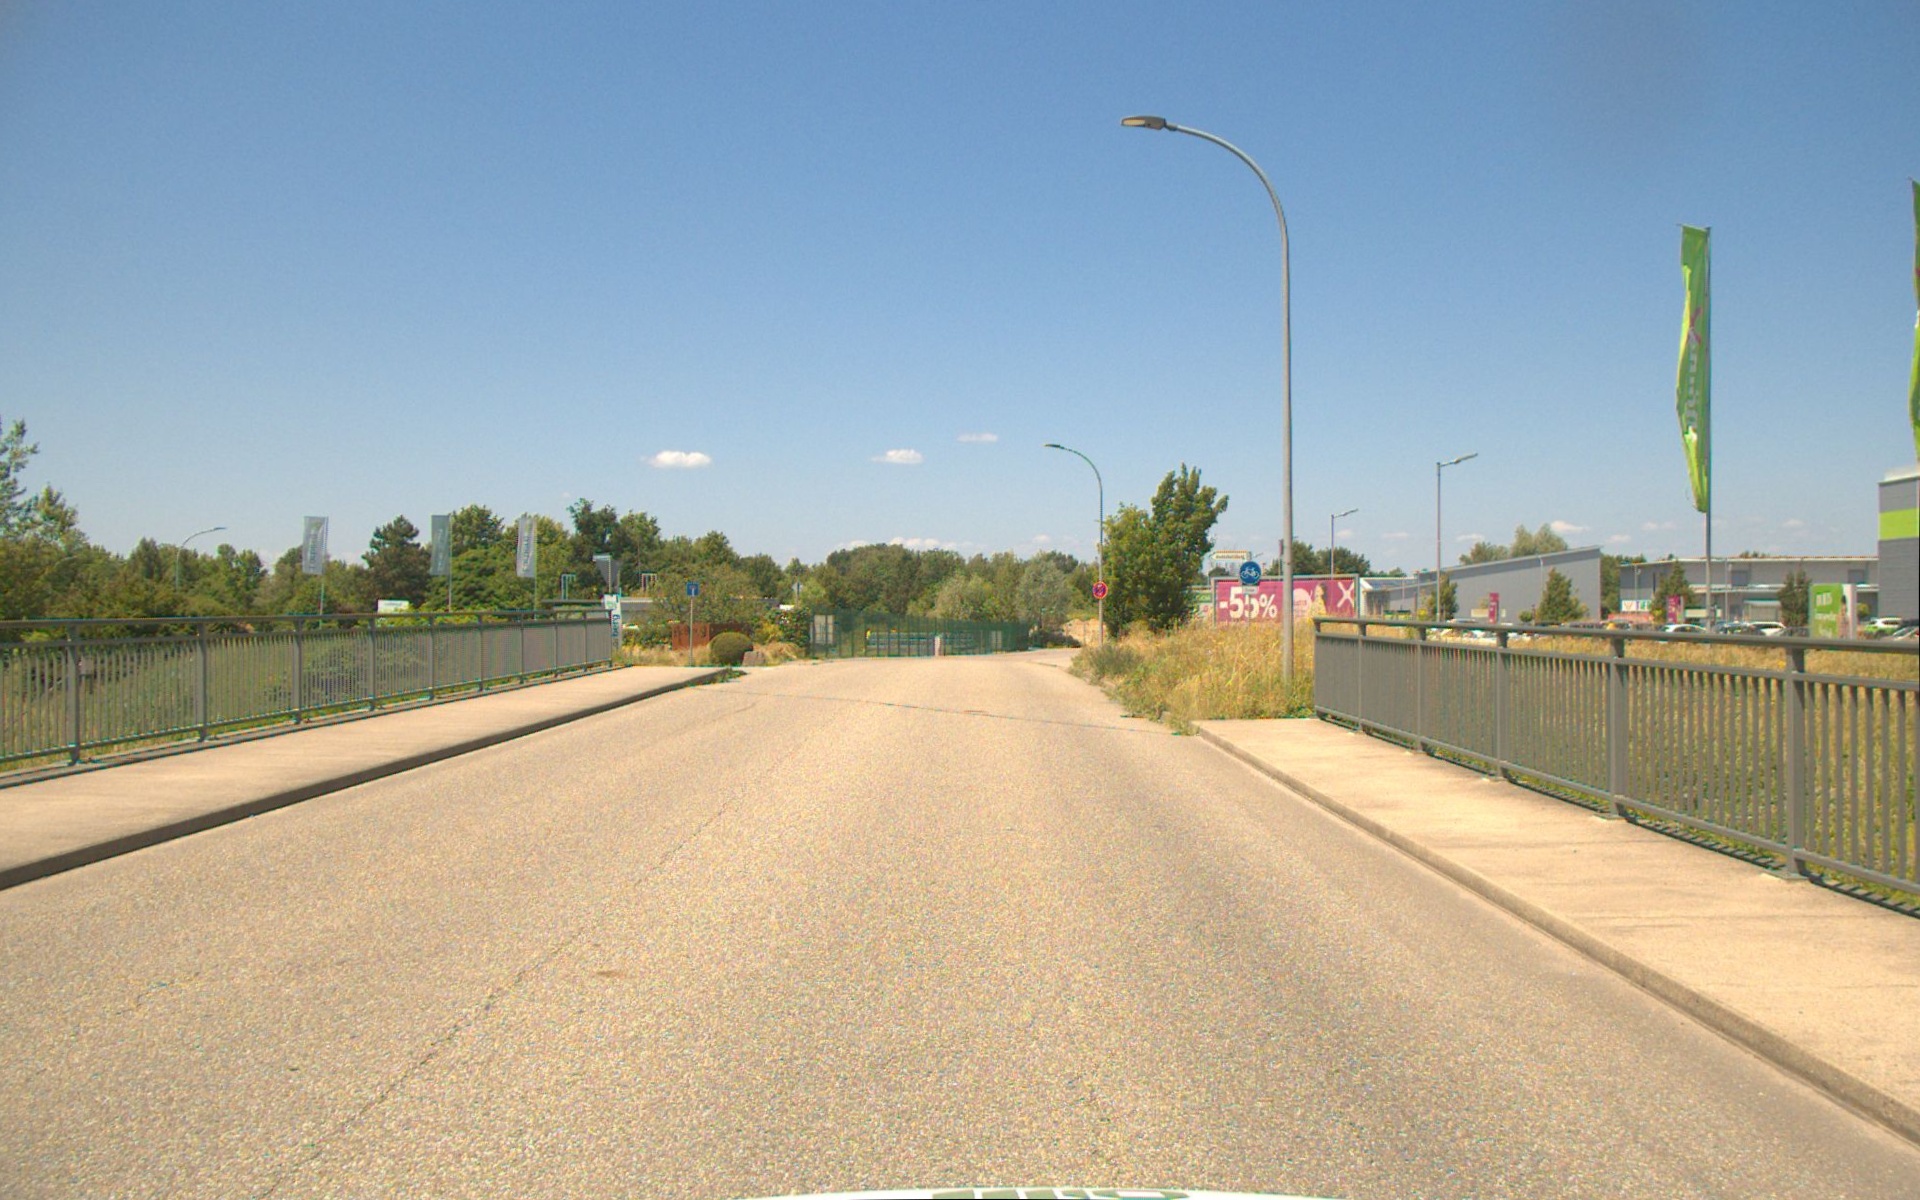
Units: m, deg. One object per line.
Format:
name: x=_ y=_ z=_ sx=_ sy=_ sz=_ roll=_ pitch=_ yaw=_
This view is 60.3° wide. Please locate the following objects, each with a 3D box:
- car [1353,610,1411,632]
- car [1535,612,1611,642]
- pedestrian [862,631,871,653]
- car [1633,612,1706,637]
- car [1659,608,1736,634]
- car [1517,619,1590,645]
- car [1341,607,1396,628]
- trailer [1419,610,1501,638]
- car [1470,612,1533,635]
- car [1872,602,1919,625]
car: x=29.112 y=1.415 z=114.211 sx=3.656 sy=1.469 sz=1.944 roll=1 pitch=0 yaw=7
car: x=34.545 y=1.521 z=93.280 sx=3.656 sy=1.598 sz=1.892 roll=1 pitch=0 yaw=7
pedestrian: x=-8.021 y=3.610 z=141.521 sx=0.593 sy=1.871 sz=0.805 roll=-1 pitch=-2 yaw=8
car: x=45.552 y=1.557 z=106.268 sx=3.903 sy=1.546 sz=2.001 roll=-1 pitch=-2 yaw=5
car: x=45.552 y=1.319 z=102.252 sx=3.903 sy=1.546 sz=2.001 roll=-1 pitch=-2 yaw=5
car: x=34.581 y=1.853 z=96.441 sx=3.656 sy=1.469 sz=1.944 roll=1 pitch=0 yaw=7
car: x=29.736 y=1.263 z=120.589 sx=3.656 sy=1.469 sz=1.944 roll=1 pitch=0 yaw=7
trailer: x=26.442 y=1.258 z=87.528 sx=3.903 sy=1.422 sz=1.765 roll=1 pitch=0 yaw=5
car: x=36.110 y=1.535 z=110.393 sx=3.656 sy=1.469 sz=1.944 roll=1 pitch=0 yaw=7
car: x=65.792 y=0.958 z=114.751 sx=3.905 sy=1.546 sz=2.000 roll=0 pitch=-2 yaw=1
